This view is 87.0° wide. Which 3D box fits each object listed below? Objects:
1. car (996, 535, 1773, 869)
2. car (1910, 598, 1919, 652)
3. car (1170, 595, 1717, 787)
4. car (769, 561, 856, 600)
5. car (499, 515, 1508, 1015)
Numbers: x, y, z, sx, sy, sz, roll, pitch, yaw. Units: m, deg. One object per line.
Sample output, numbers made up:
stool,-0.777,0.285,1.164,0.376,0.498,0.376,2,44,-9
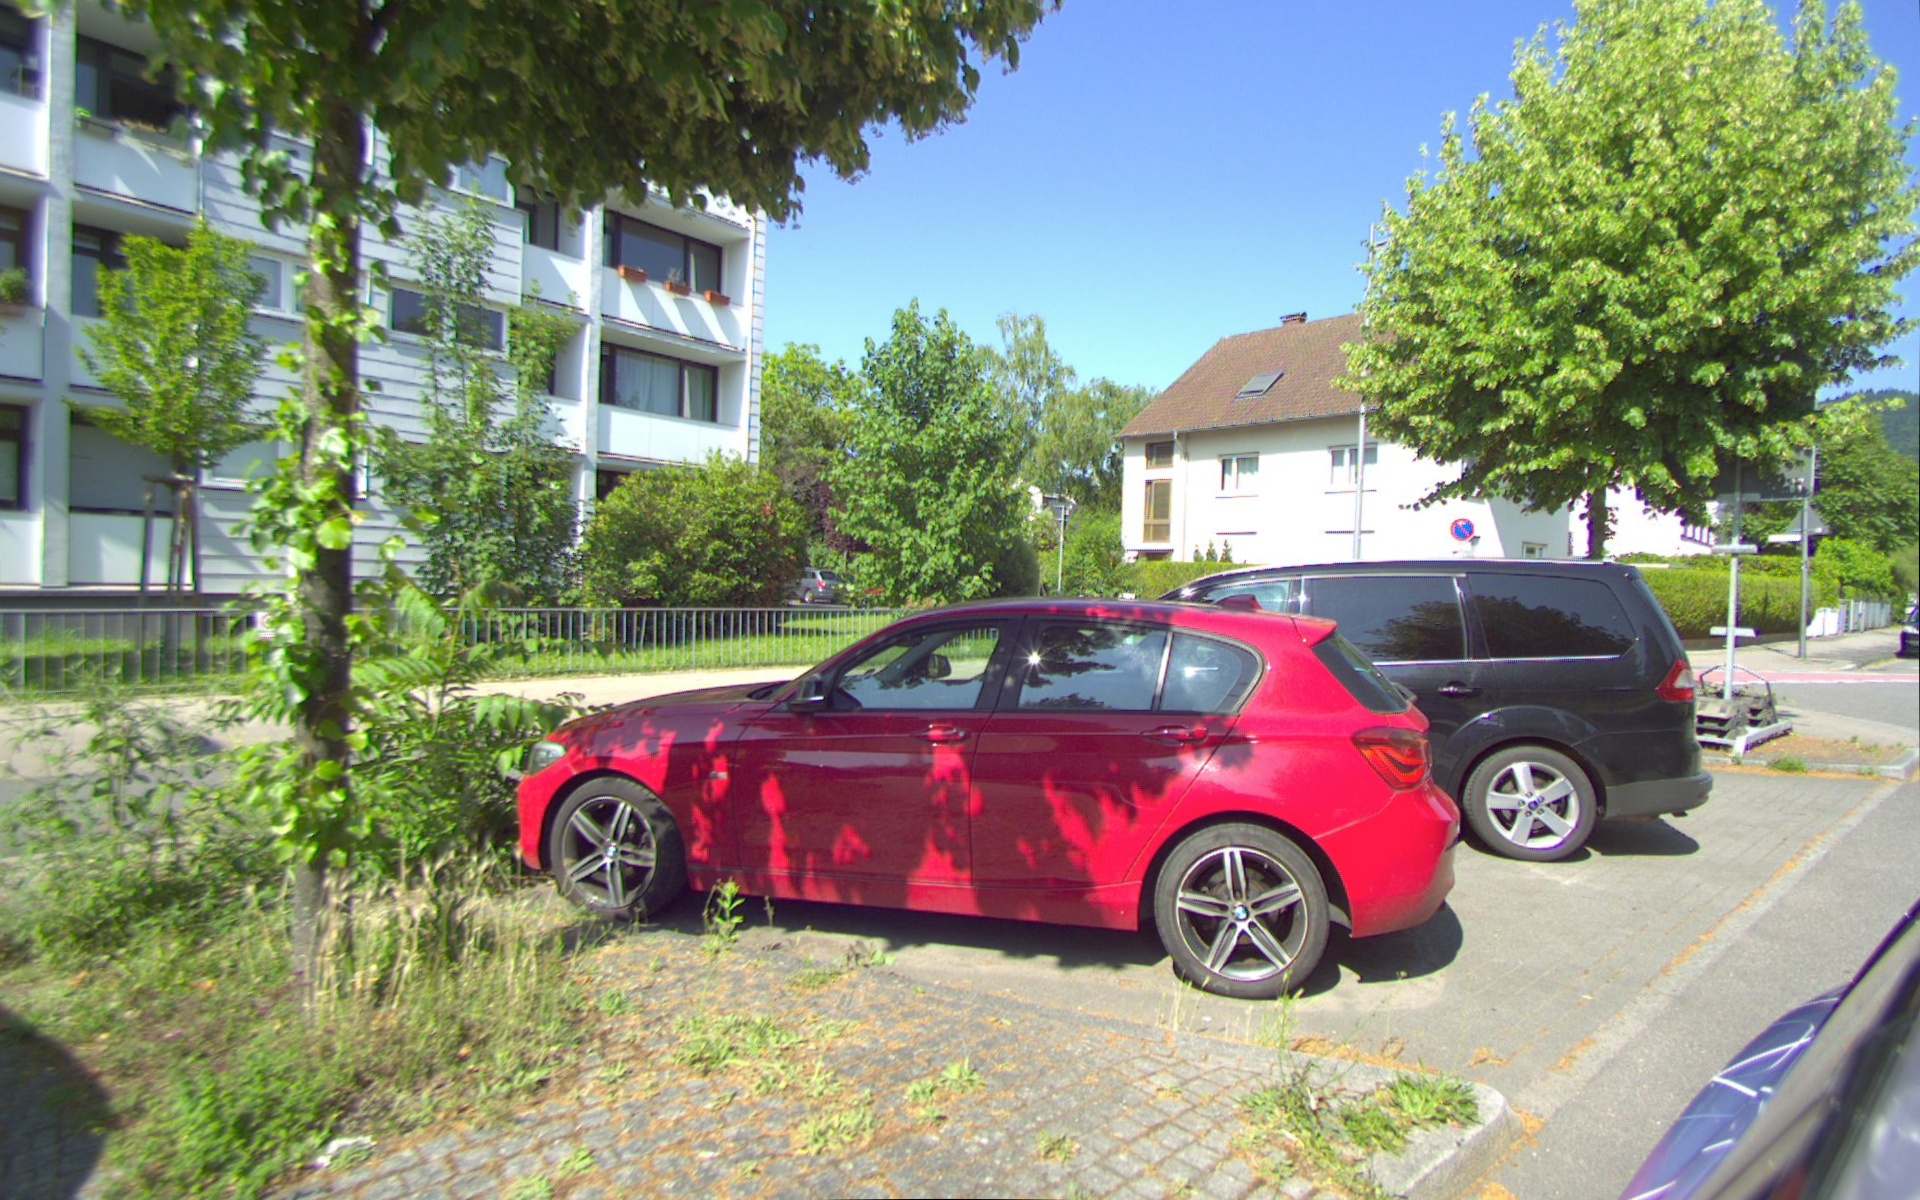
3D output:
car,2.467,0.467,6.755,4.063,1.660,2.034,2,1,17
car,27.065,0.635,27.379,3.931,1.408,1.619,0,-1,-42
car,4.027,0.654,8.978,3.957,1.252,1.739,2,1,24
car,-6.478,-0.874,44.273,1.883,1.523,3.995,1,2,-41
car,0.128,0.487,4.805,3.942,1.660,1.873,2,2,15
